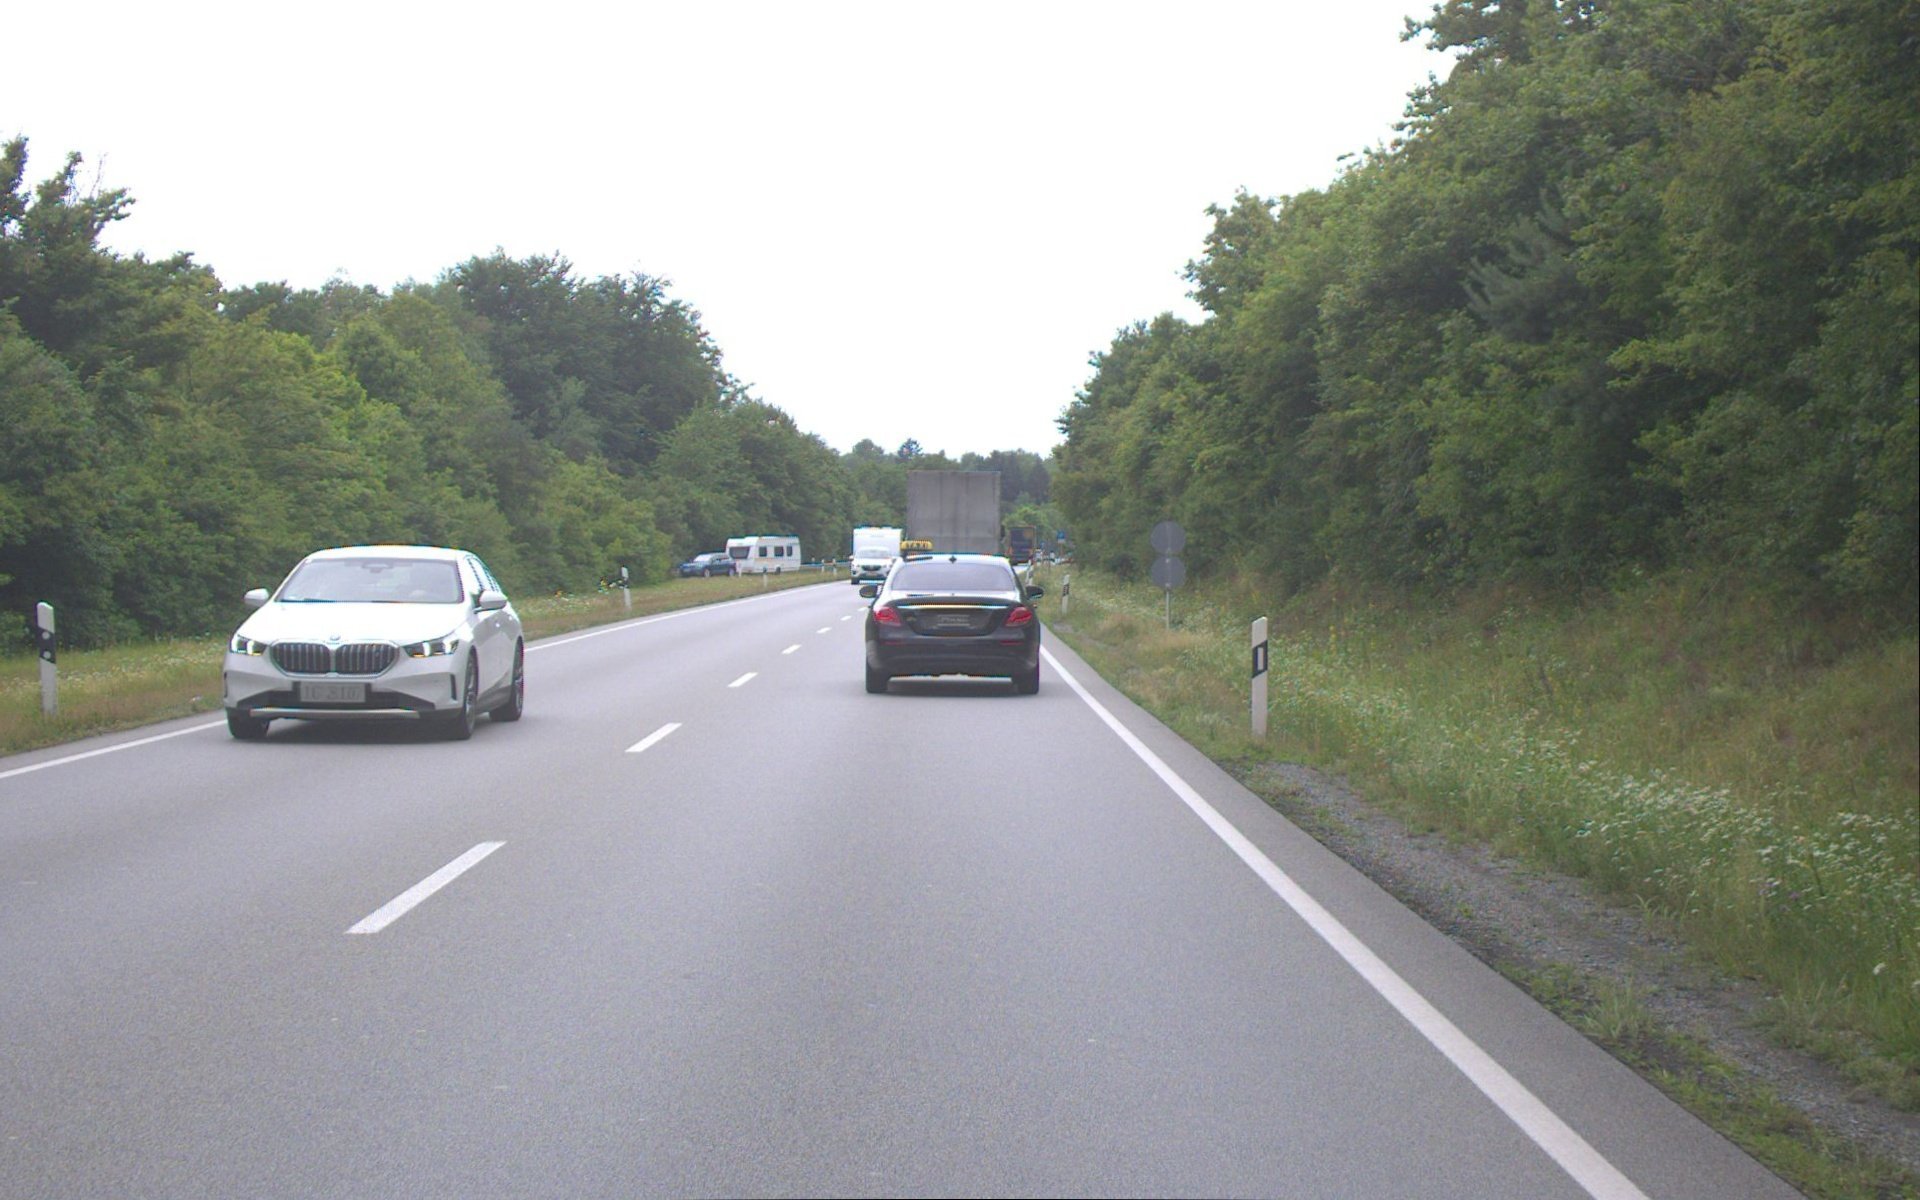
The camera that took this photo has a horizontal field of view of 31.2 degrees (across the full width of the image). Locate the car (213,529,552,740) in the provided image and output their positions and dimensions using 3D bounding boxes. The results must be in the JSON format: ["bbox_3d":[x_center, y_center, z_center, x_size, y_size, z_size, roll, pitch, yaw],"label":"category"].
[{"bbox_3d":[-4.704,0.226,28.796,1.964,1.568,5.452,1,1,-1],"label":"car"}]

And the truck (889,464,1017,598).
[{"bbox_3d":[-0.106,-1.936,99.283,3.281,3.599,11.399,1,1,2],"label":"truck"}]

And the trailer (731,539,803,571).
[{"bbox_3d":[-12.599,-2.911,224.702,1.997,2.007,5.113,1,1,34],"label":"trailer"}]

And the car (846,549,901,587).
[{"bbox_3d":[-3.821,-1.415,152.307,2.279,1.598,4.692,1,1,0],"label":"car"}]

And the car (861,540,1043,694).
[{"bbox_3d":[-0.137,0.148,37.123,1.791,1.546,4.000,1,1,-2],"label":"car"}]

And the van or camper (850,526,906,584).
[{"bbox_3d":[-3.748,-2.056,158.053,2.380,2.566,6.280,1,1,0],"label":"van or camper"}]
